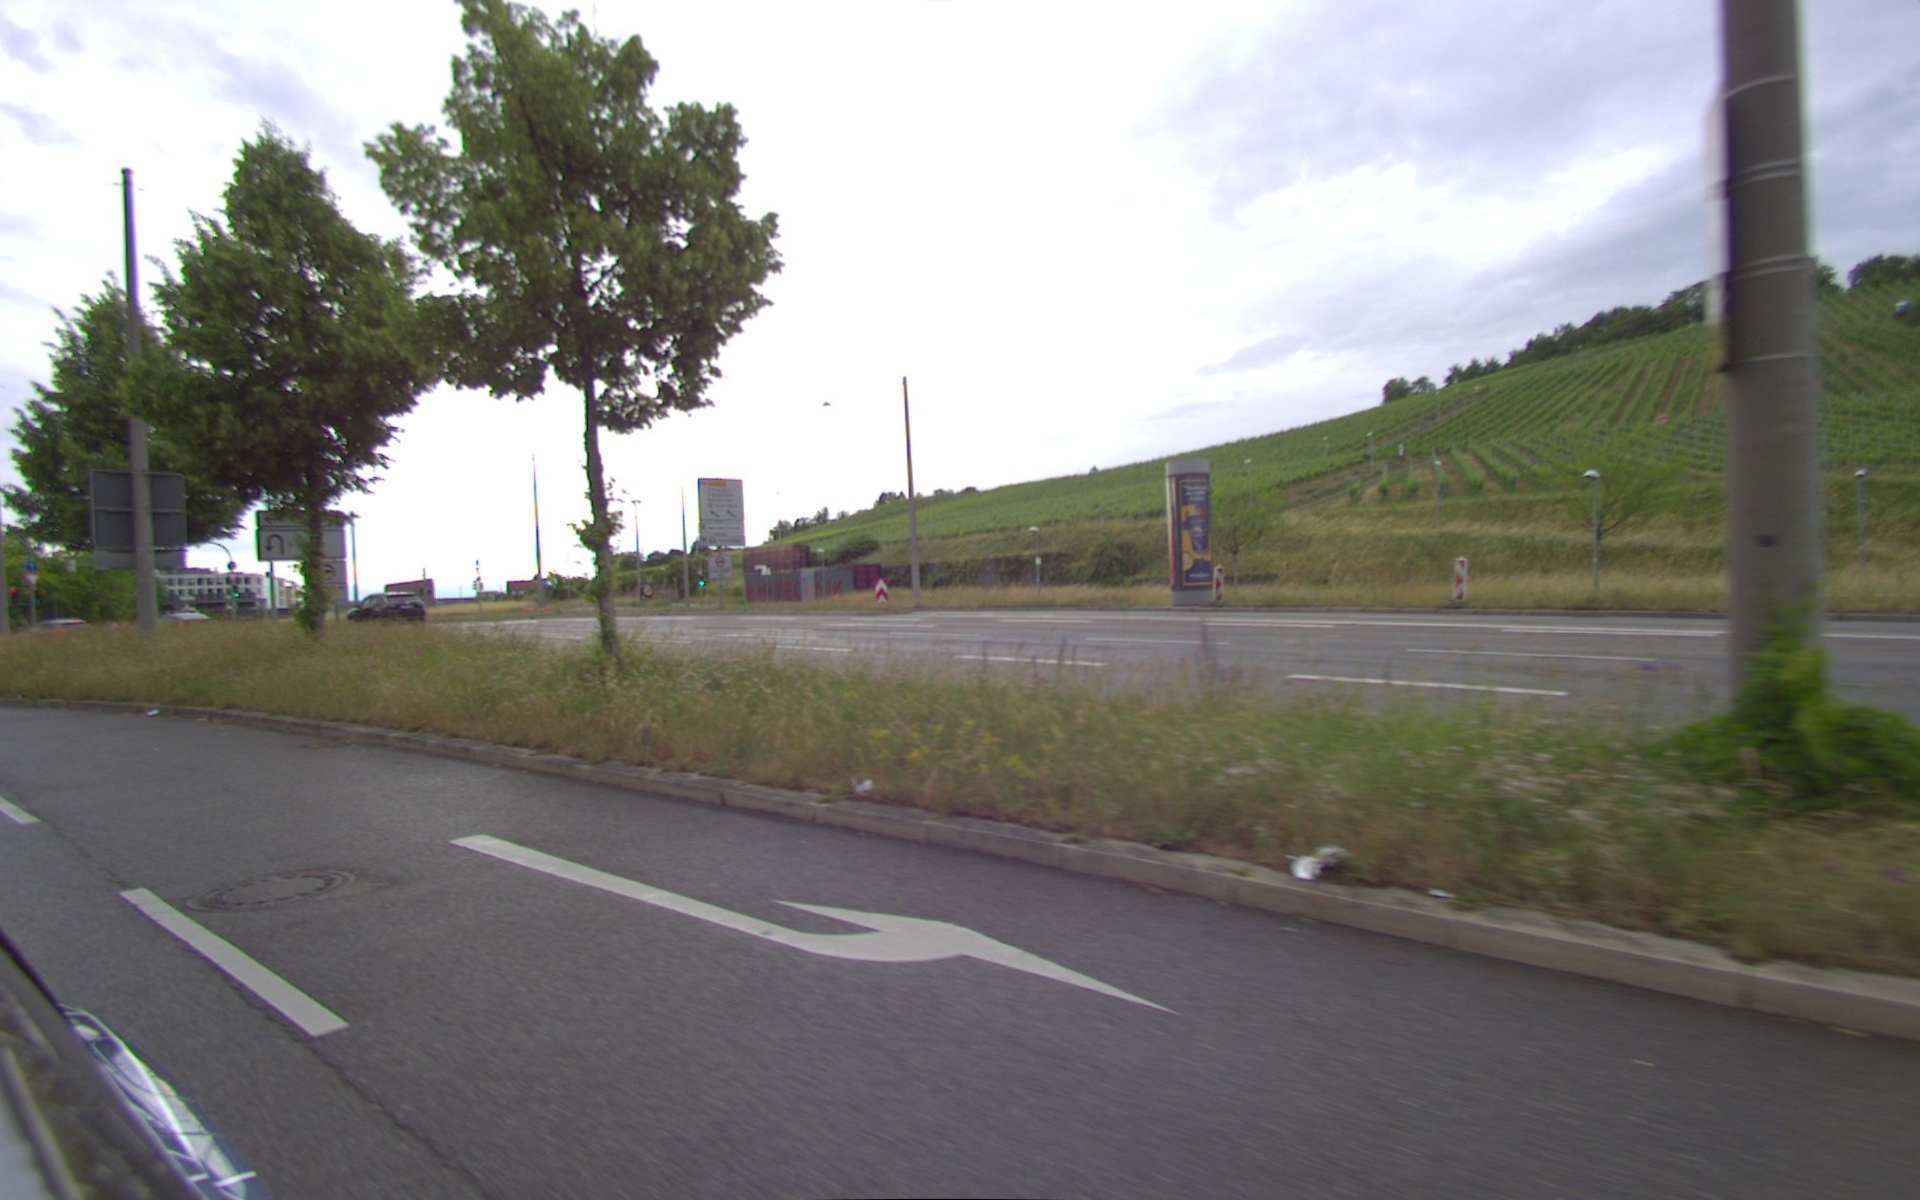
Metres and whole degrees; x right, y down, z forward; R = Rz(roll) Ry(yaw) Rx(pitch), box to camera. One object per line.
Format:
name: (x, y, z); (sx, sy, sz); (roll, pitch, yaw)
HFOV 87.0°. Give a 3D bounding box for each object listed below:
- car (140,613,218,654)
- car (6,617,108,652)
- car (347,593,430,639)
car: (-35.054, 1.478, 45.378); (4.354, 1.666, 1.859); (-2, 1, 40)
car: (-43.768, 1.659, 49.054); (4.306, 1.472, 1.729); (-2, 1, 19)
car: (-23.910, 0.672, 42.283); (3.999, 1.763, 1.749); (-1, 1, 42)
